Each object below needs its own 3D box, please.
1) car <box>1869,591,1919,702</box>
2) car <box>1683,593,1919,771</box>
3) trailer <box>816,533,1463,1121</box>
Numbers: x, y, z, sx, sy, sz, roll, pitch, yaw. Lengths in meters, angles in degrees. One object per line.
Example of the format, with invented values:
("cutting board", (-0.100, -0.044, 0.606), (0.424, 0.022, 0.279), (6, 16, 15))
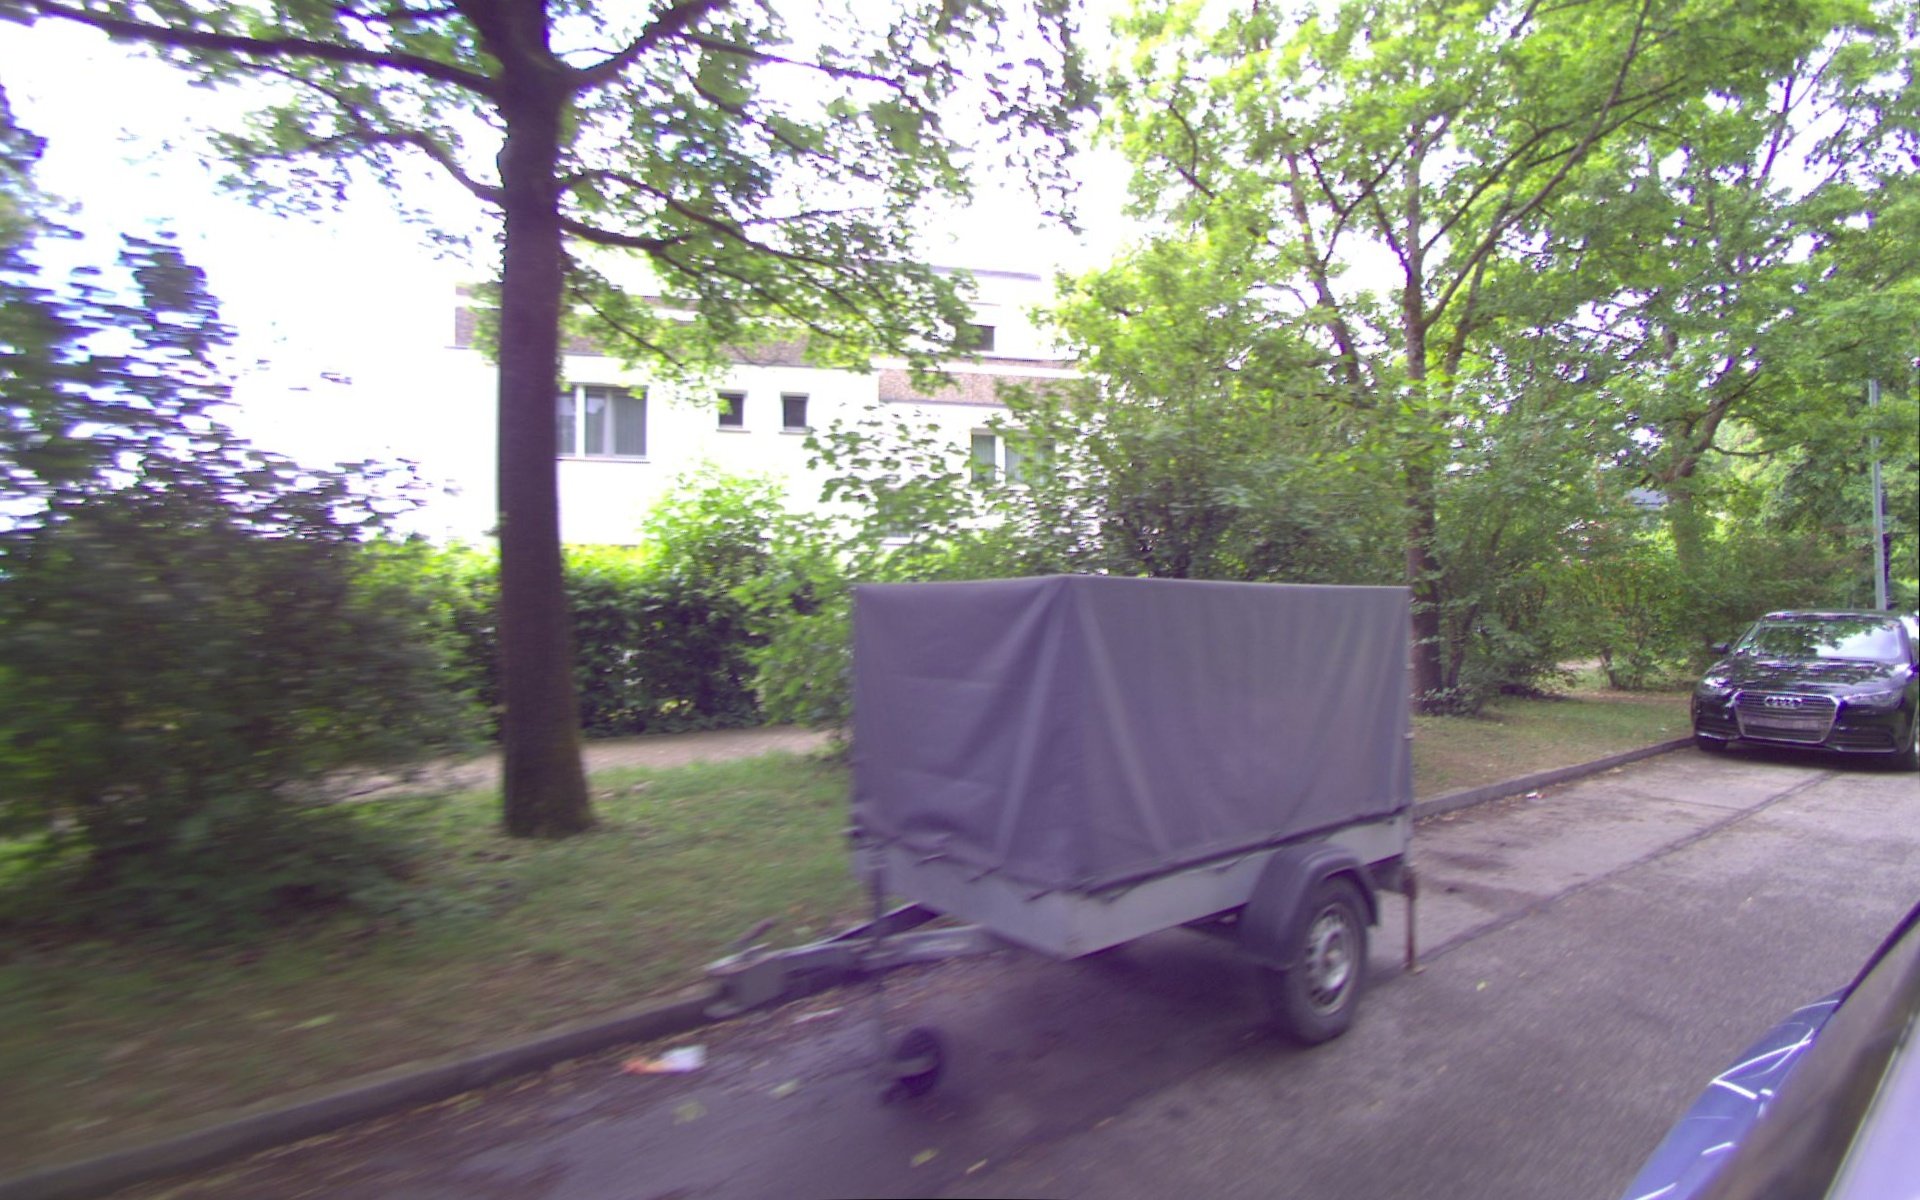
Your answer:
("car", (14.926, 0.609, 14.784), (4.400, 1.493, 1.850), (-1, -1, -40))
("car", (8.963, 0.682, 10.263), (3.848, 1.471, 1.724), (-1, -1, -40))
("trailer", (0.799, 0.622, 4.047), (2.416, 1.605, 1.281), (0, -1, -39))
